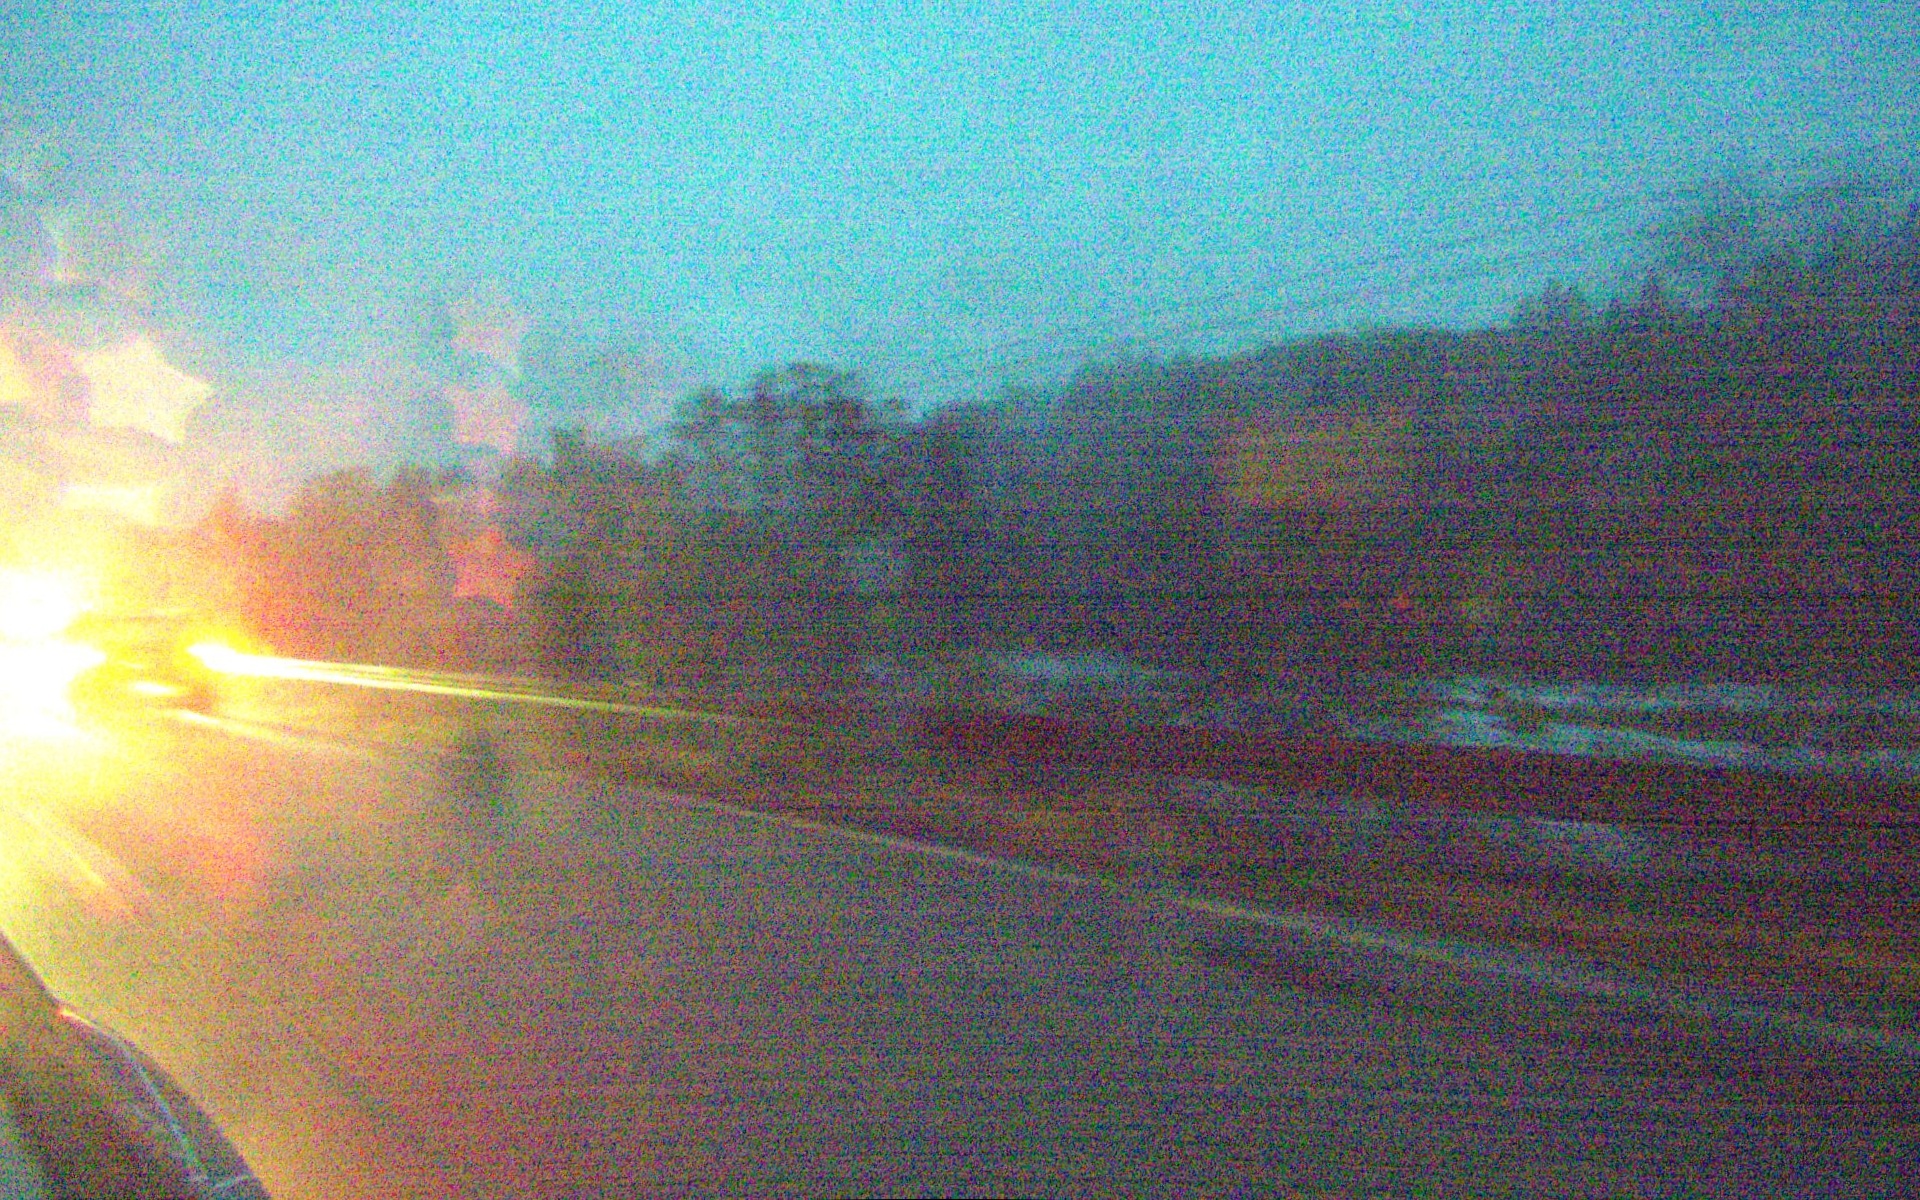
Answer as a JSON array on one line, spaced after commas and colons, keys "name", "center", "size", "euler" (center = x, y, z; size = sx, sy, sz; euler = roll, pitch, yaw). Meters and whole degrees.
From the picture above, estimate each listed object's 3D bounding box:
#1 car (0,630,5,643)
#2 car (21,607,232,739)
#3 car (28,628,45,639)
[{"name": "car", "center": [-109.766, 4.152, 114.895], "size": [1.833, 1.533, 4.686], "euler": [-1, -1, -42]}, {"name": "car", "center": [-12.063, 0.954, 14.556], "size": [3.999, 1.625, 1.704], "euler": [-2, -1, 41]}, {"name": "car", "center": [-139.936, 5.129, 153.412], "size": [1.808, 1.566, 4.447], "euler": [-1, -1, -42]}]
